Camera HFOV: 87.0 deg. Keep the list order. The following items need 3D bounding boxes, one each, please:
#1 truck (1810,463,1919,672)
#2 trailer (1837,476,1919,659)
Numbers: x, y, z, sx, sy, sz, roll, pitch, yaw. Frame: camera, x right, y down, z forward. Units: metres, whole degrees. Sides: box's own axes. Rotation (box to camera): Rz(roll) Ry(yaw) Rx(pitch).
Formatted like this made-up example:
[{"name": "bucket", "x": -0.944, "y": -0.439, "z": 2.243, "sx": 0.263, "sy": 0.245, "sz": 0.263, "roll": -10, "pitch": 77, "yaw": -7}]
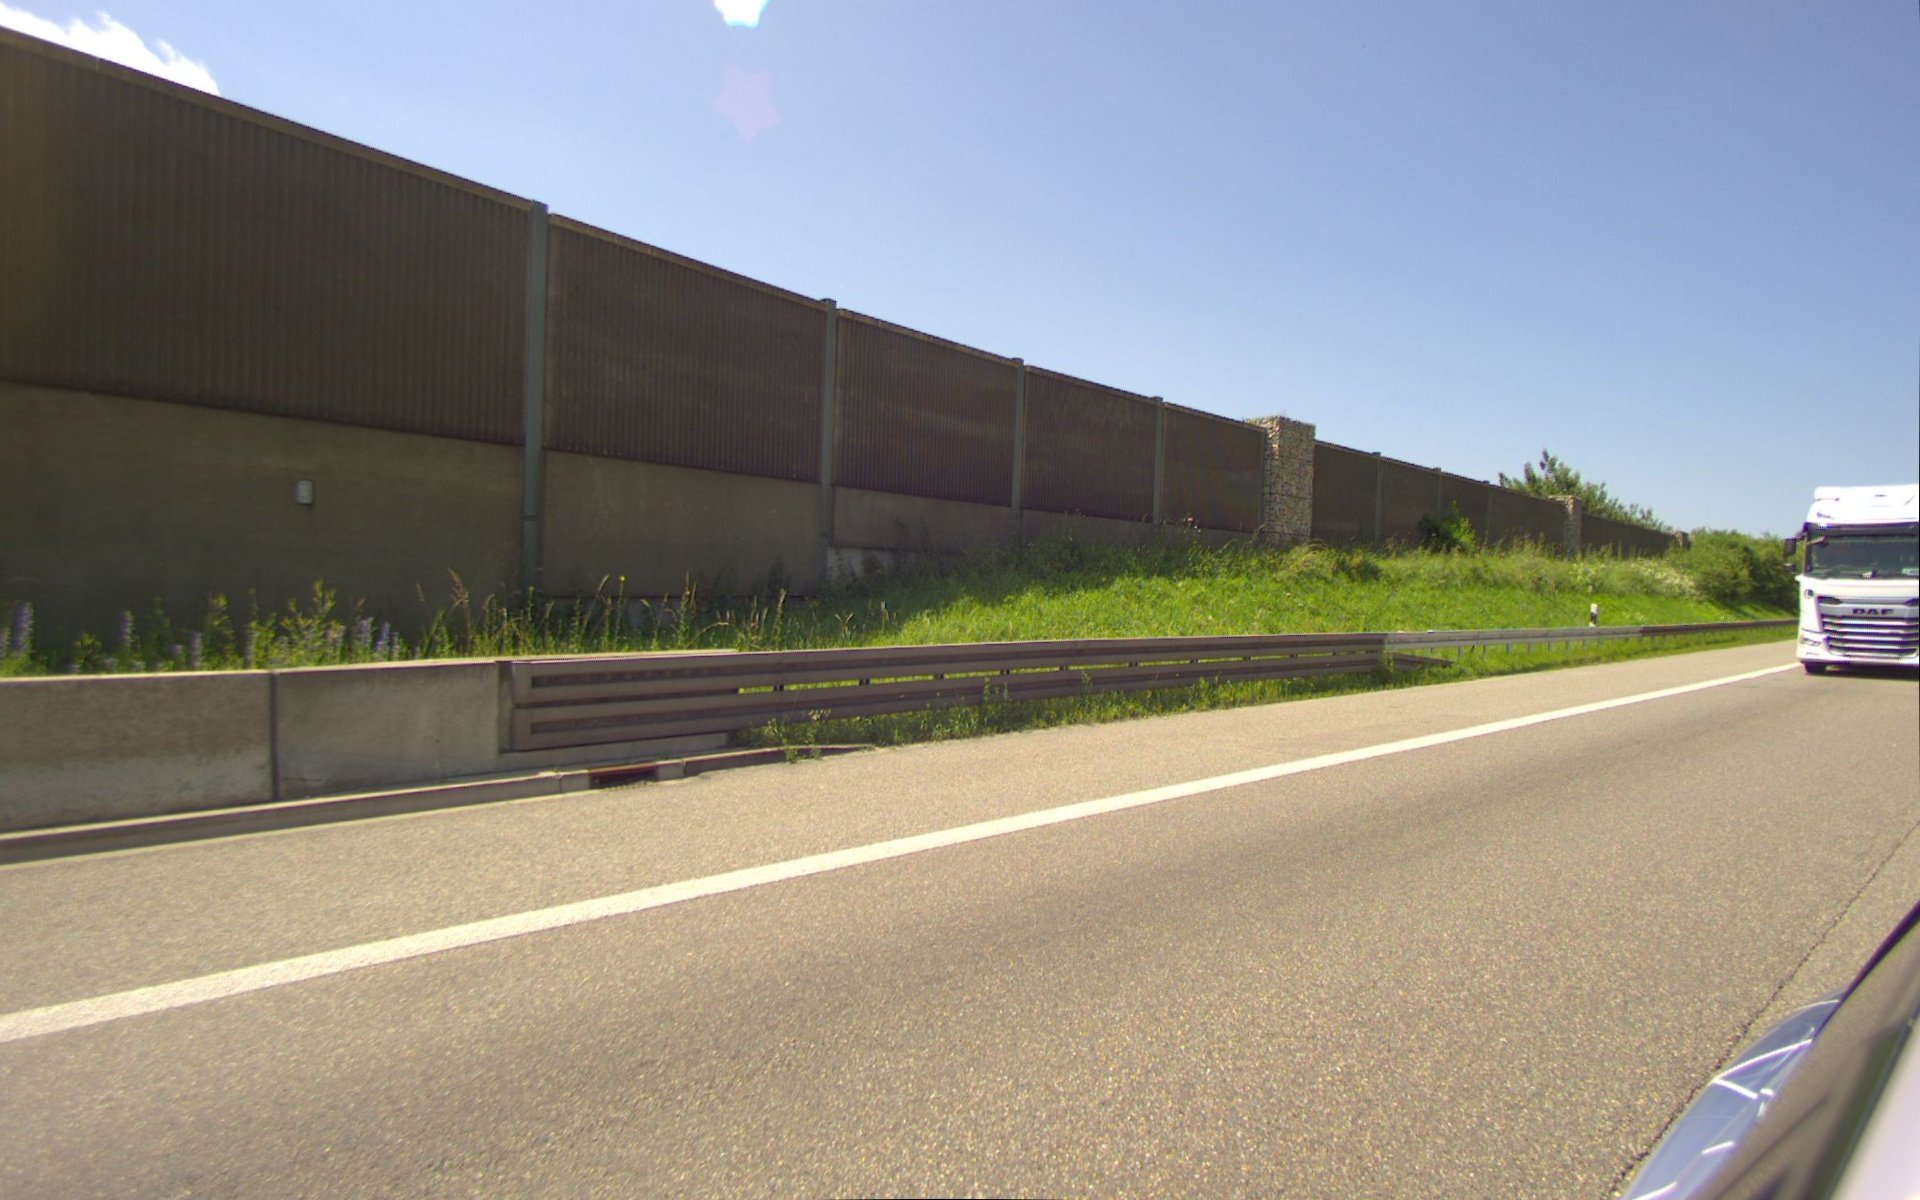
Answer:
[{"name": "truck", "x": 20.501, "y": -0.640, "z": 21.862, "sx": 6.272, "sy": 4.027, "sz": 2.481, "roll": 0, "pitch": 1, "yaw": -43}, {"name": "trailer", "x": 25.905, "y": -0.732, "z": 26.864, "sx": 13.423, "sy": 4.027, "sz": 2.481, "roll": 0, "pitch": 1, "yaw": -43}]
